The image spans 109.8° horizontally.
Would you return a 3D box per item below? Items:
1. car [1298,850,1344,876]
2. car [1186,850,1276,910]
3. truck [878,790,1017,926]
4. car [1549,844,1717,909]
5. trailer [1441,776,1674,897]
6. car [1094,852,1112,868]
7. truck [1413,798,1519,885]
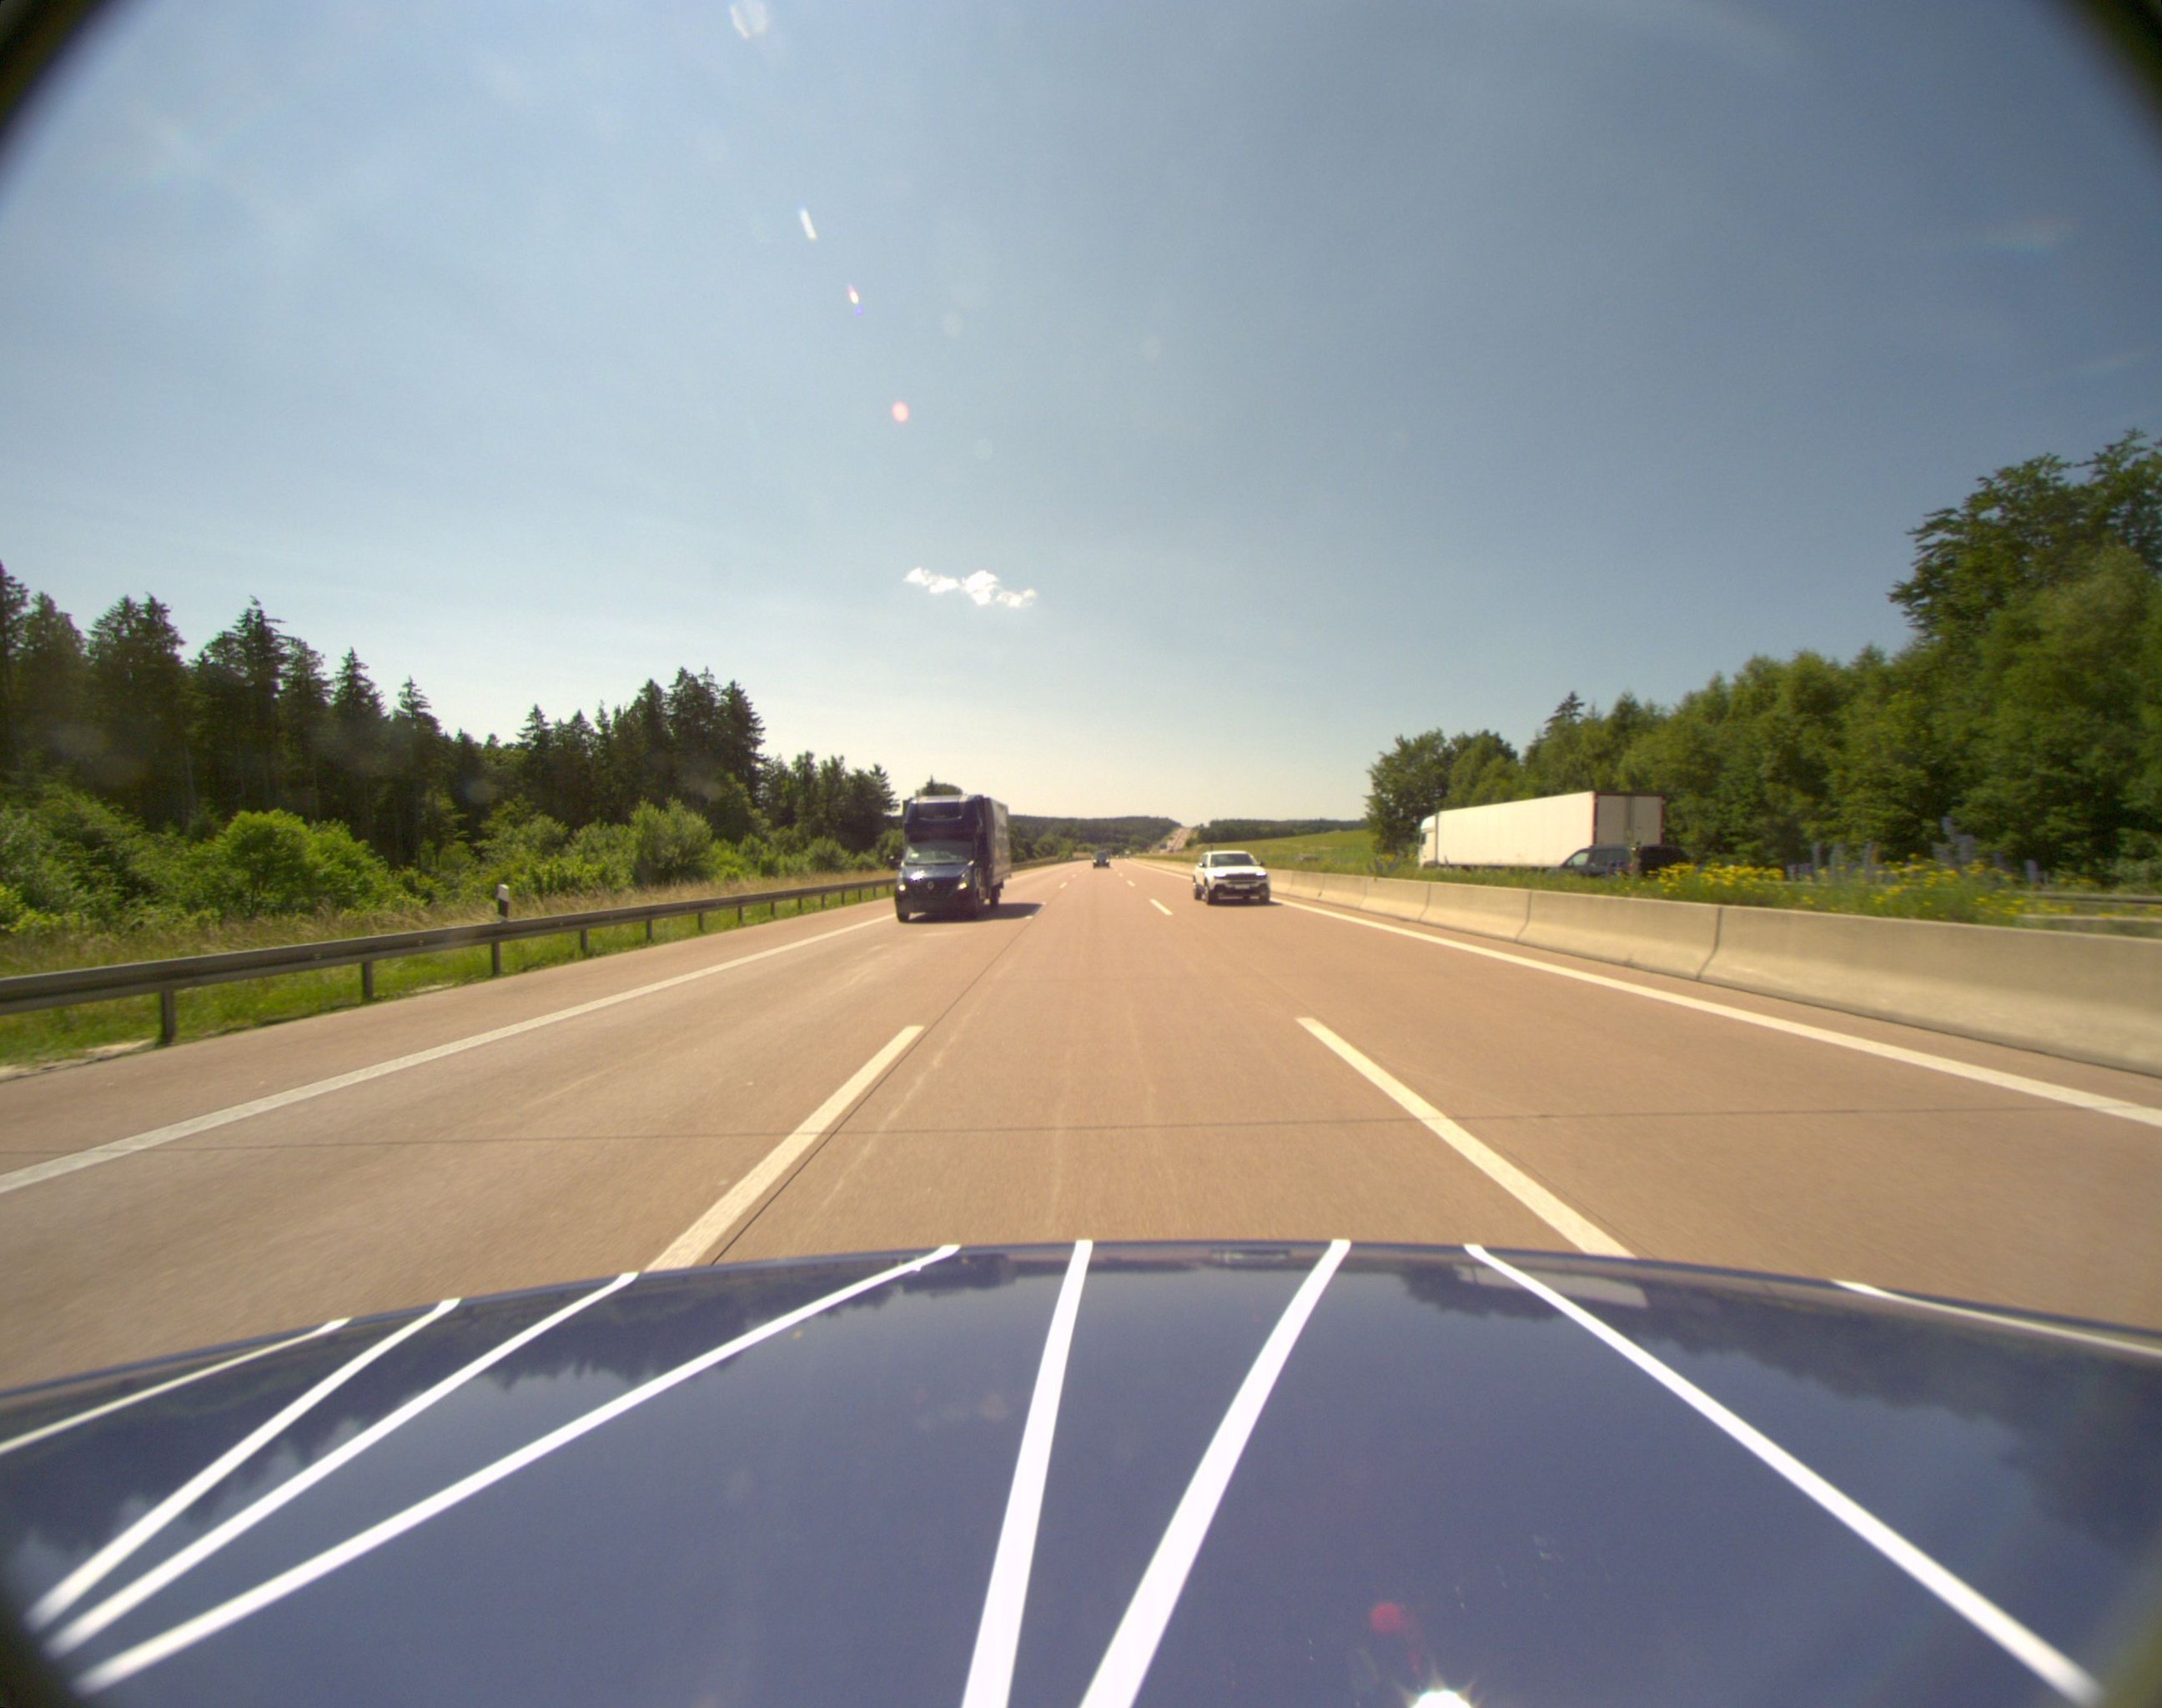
[{"bbox_3d":[16.864,0.584,53.655,1.998,1.718,4.000,-2,0,1],"label":"car"},{"bbox_3d":[4.411,0.695,23.122,1.883,1.598,4.834,-2,0,2],"label":"car"},{"bbox_3d":[-3.537,0.087,22.168,2.508,3.199,7.784,-1,0,1],"label":"truck"},{"bbox_3d":[15.616,0.585,21.782,1.895,1.645,4.000,-2,0,0],"label":"car"},{"bbox_3d":[20.712,-0.657,34.640,2.709,4.408,13.193,-2,0,2],"label":"trailer"},{"bbox_3d":[2.580,0.656,88.605,1.998,1.805,4.564,-2,0,2],"label":"car"},{"bbox_3d":[20.919,-0.647,41.725,2.709,4.355,6.478,-1,0,2],"label":"truck"}]
